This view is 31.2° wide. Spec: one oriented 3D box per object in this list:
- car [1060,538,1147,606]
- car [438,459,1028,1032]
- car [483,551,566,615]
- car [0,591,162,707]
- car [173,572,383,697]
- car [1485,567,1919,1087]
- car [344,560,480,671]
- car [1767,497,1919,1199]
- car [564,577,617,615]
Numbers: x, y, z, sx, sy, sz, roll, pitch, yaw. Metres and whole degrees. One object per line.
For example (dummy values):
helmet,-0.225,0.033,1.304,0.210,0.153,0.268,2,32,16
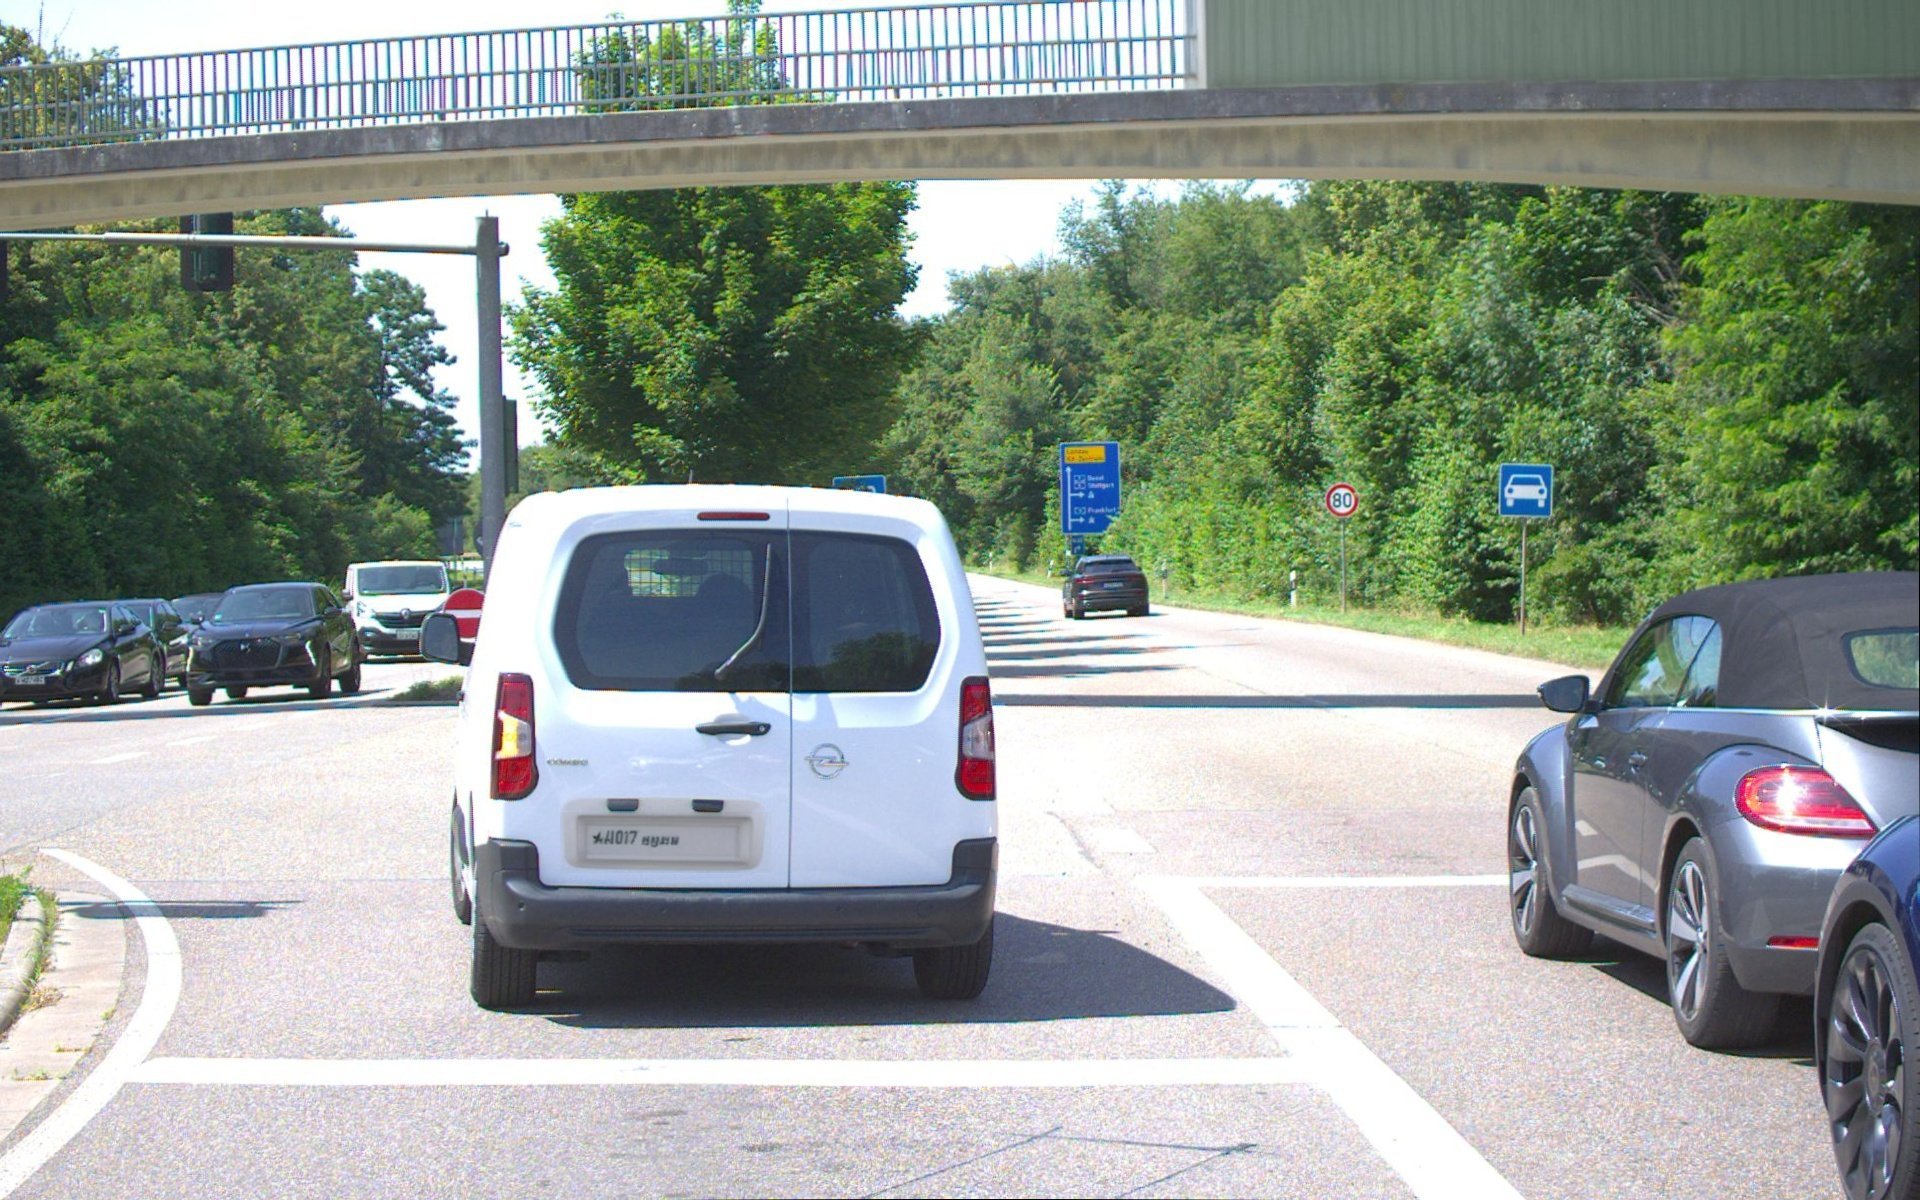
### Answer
car,3.758,-0.764,90.958,2.042,1.693,5.086,-1,1,0
car,-1.015,0.422,13.017,1.848,1.819,3.982,0,1,-9
car,-14.490,-0.573,114.675,2.208,1.986,4.734,-2,1,-1
car,-12.517,0.661,47.615,2.008,1.455,4.055,-2,1,-1
car,-8.887,0.417,45.108,1.993,1.518,4.028,-1,1,-1
car,3.110,0.642,11.847,1.900,1.473,3.939,1,1,-1
car,-10.632,0.268,67.046,2.208,1.986,5.489,-2,1,-5
car,2.967,0.632,5.951,1.900,1.639,4.521,1,1,-2
car,-16.751,-0.197,155.976,2.008,1.596,4.055,-2,1,-1
